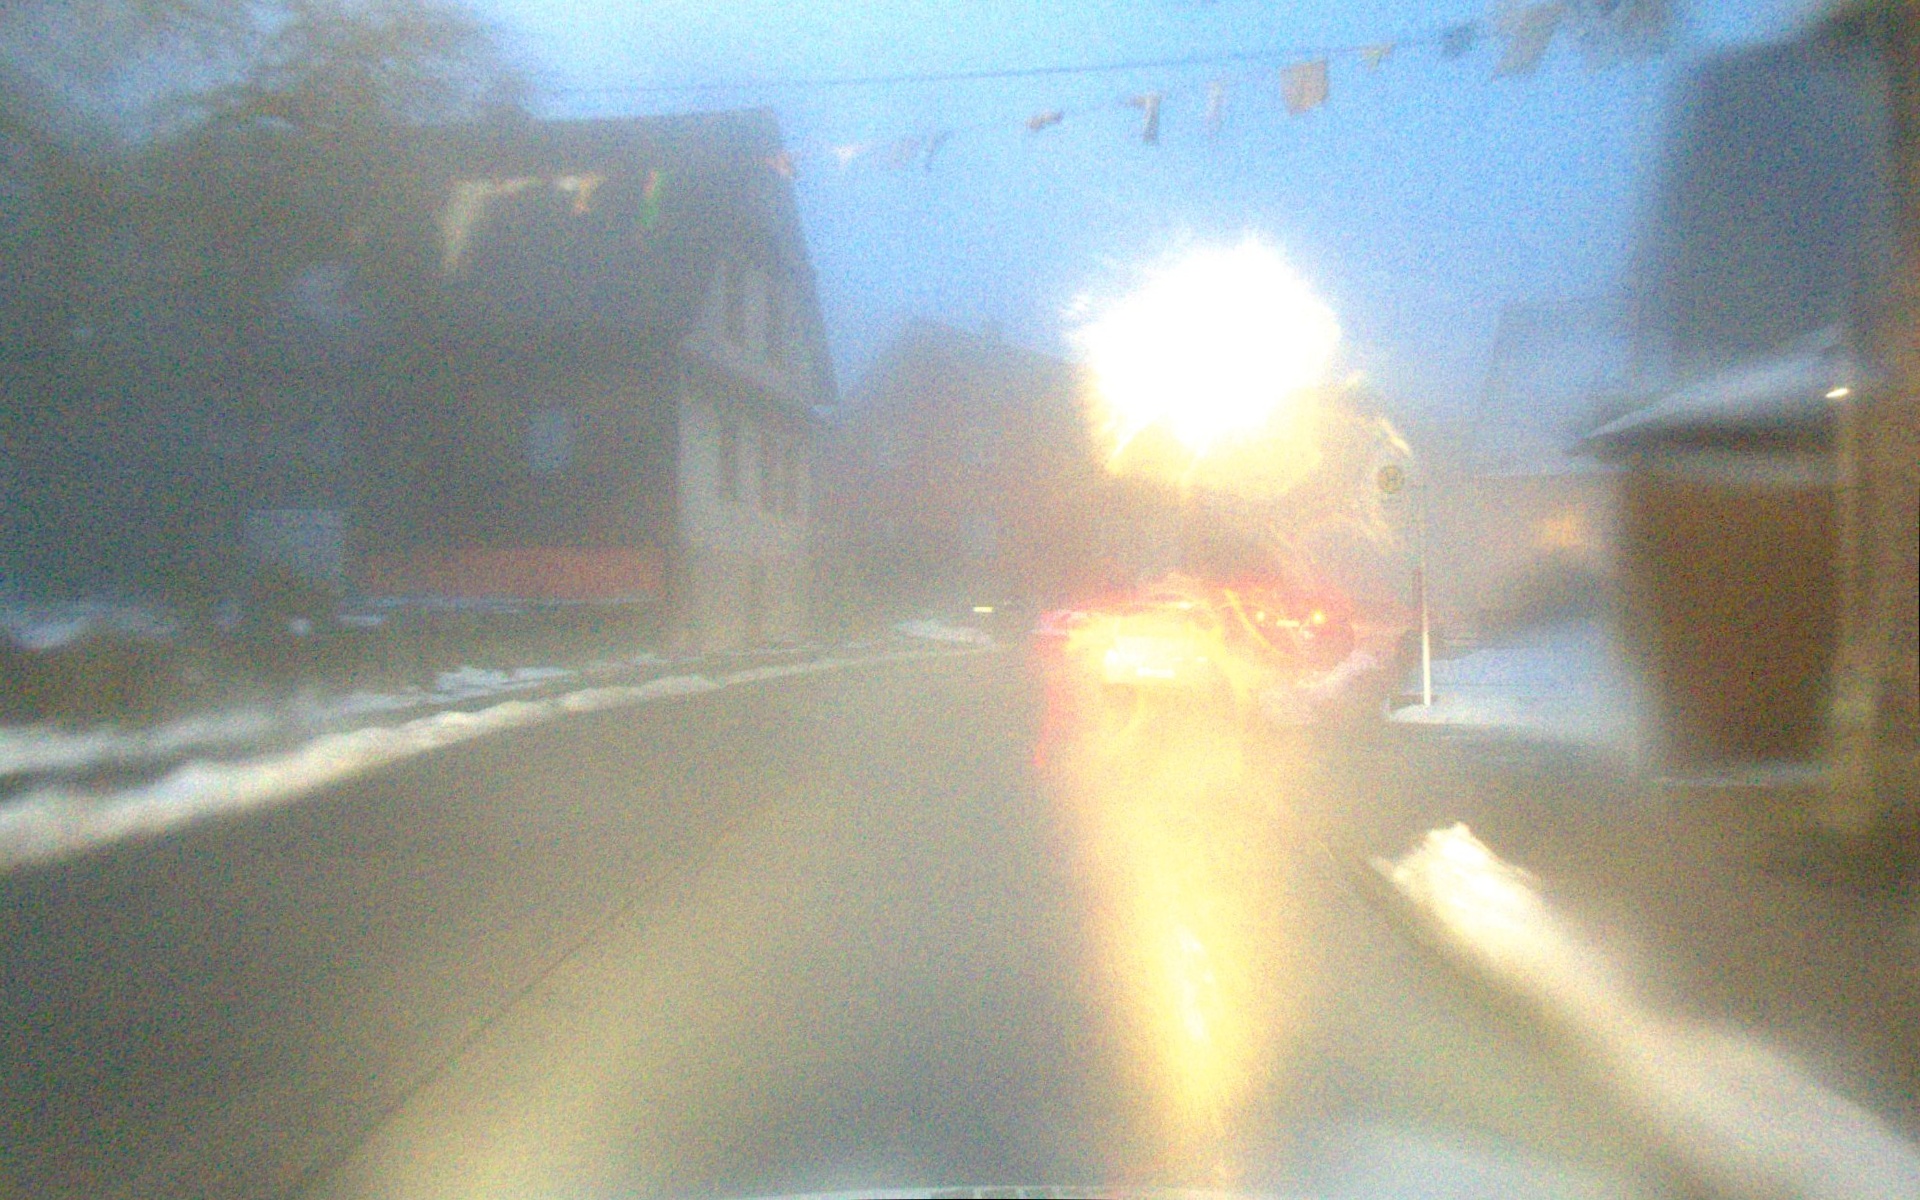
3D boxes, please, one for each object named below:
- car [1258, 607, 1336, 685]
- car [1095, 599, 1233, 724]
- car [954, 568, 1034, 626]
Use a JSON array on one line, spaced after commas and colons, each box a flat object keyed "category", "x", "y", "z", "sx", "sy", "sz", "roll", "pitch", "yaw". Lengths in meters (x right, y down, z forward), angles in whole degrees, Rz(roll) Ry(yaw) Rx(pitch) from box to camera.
[{"category": "car", "x": 7.607, "y": 0.992, "z": 37.496, "sx": 1.610, "sy": 1.624, "sz": 3.702, "roll": 2, "pitch": 0, "yaw": 11}, {"category": "car", "x": 3.023, "y": 0.826, "z": 23.983, "sx": 1.610, "sy": 1.624, "sz": 3.702, "roll": 2, "pitch": 0, "yaw": 12}, {"category": "car", "x": 1.030, "y": -0.070, "z": 47.635, "sx": 1.834, "sy": 1.530, "sz": 4.003, "roll": 2, "pitch": 0, "yaw": 7}]
